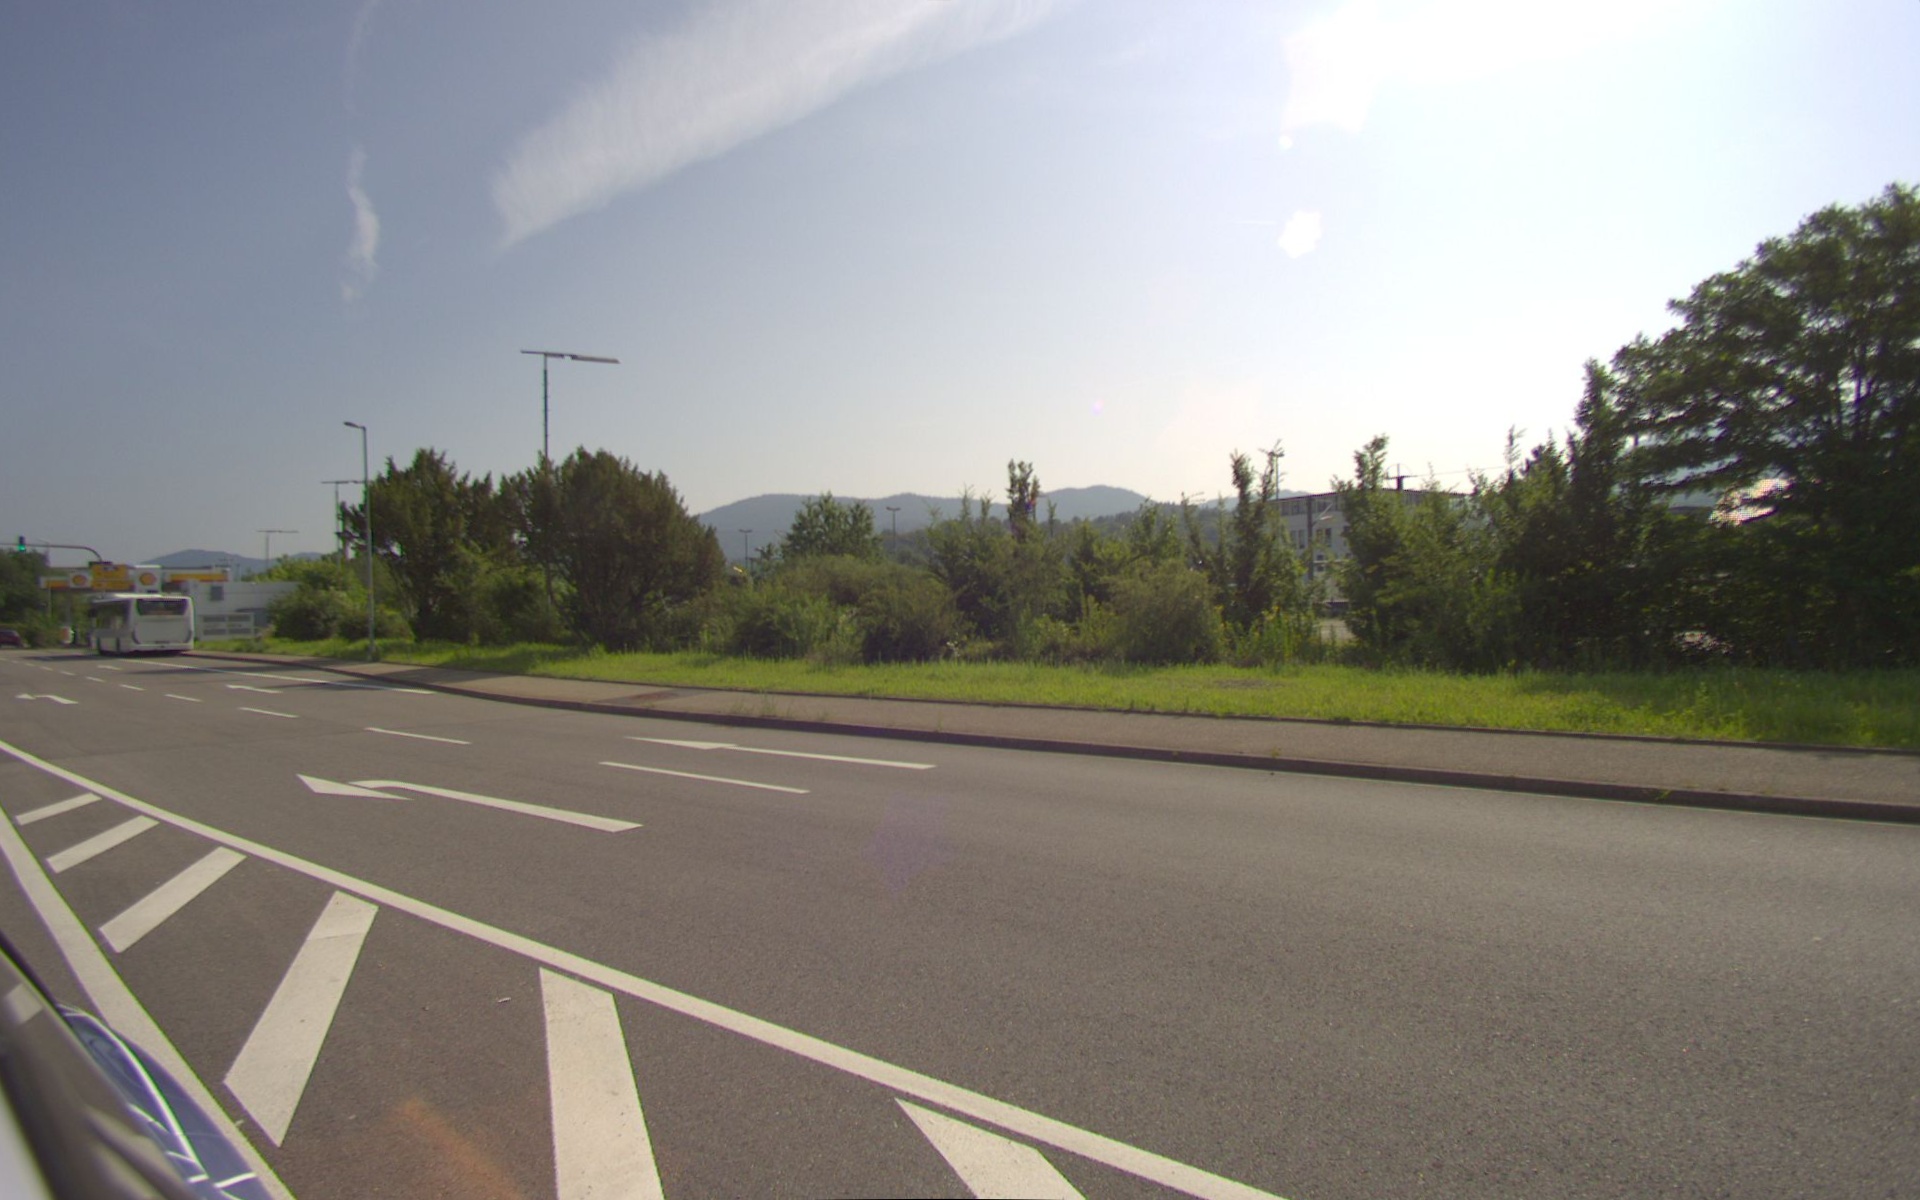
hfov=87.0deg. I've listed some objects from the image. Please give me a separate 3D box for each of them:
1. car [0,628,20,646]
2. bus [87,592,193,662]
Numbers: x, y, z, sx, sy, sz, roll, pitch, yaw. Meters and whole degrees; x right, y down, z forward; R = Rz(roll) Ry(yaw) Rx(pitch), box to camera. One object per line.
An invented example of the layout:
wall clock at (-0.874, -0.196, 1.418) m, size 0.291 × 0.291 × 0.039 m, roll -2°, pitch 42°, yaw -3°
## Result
car at (-84.684, 3.299, 89.542) m, size 4.431 × 1.503 × 1.817 m, roll -1°, pitch -1°, yaw 42°
bus at (-43.218, 1.379, 53.150) m, size 11.955 × 3.335 × 2.592 m, roll -1°, pitch -1°, yaw 43°
